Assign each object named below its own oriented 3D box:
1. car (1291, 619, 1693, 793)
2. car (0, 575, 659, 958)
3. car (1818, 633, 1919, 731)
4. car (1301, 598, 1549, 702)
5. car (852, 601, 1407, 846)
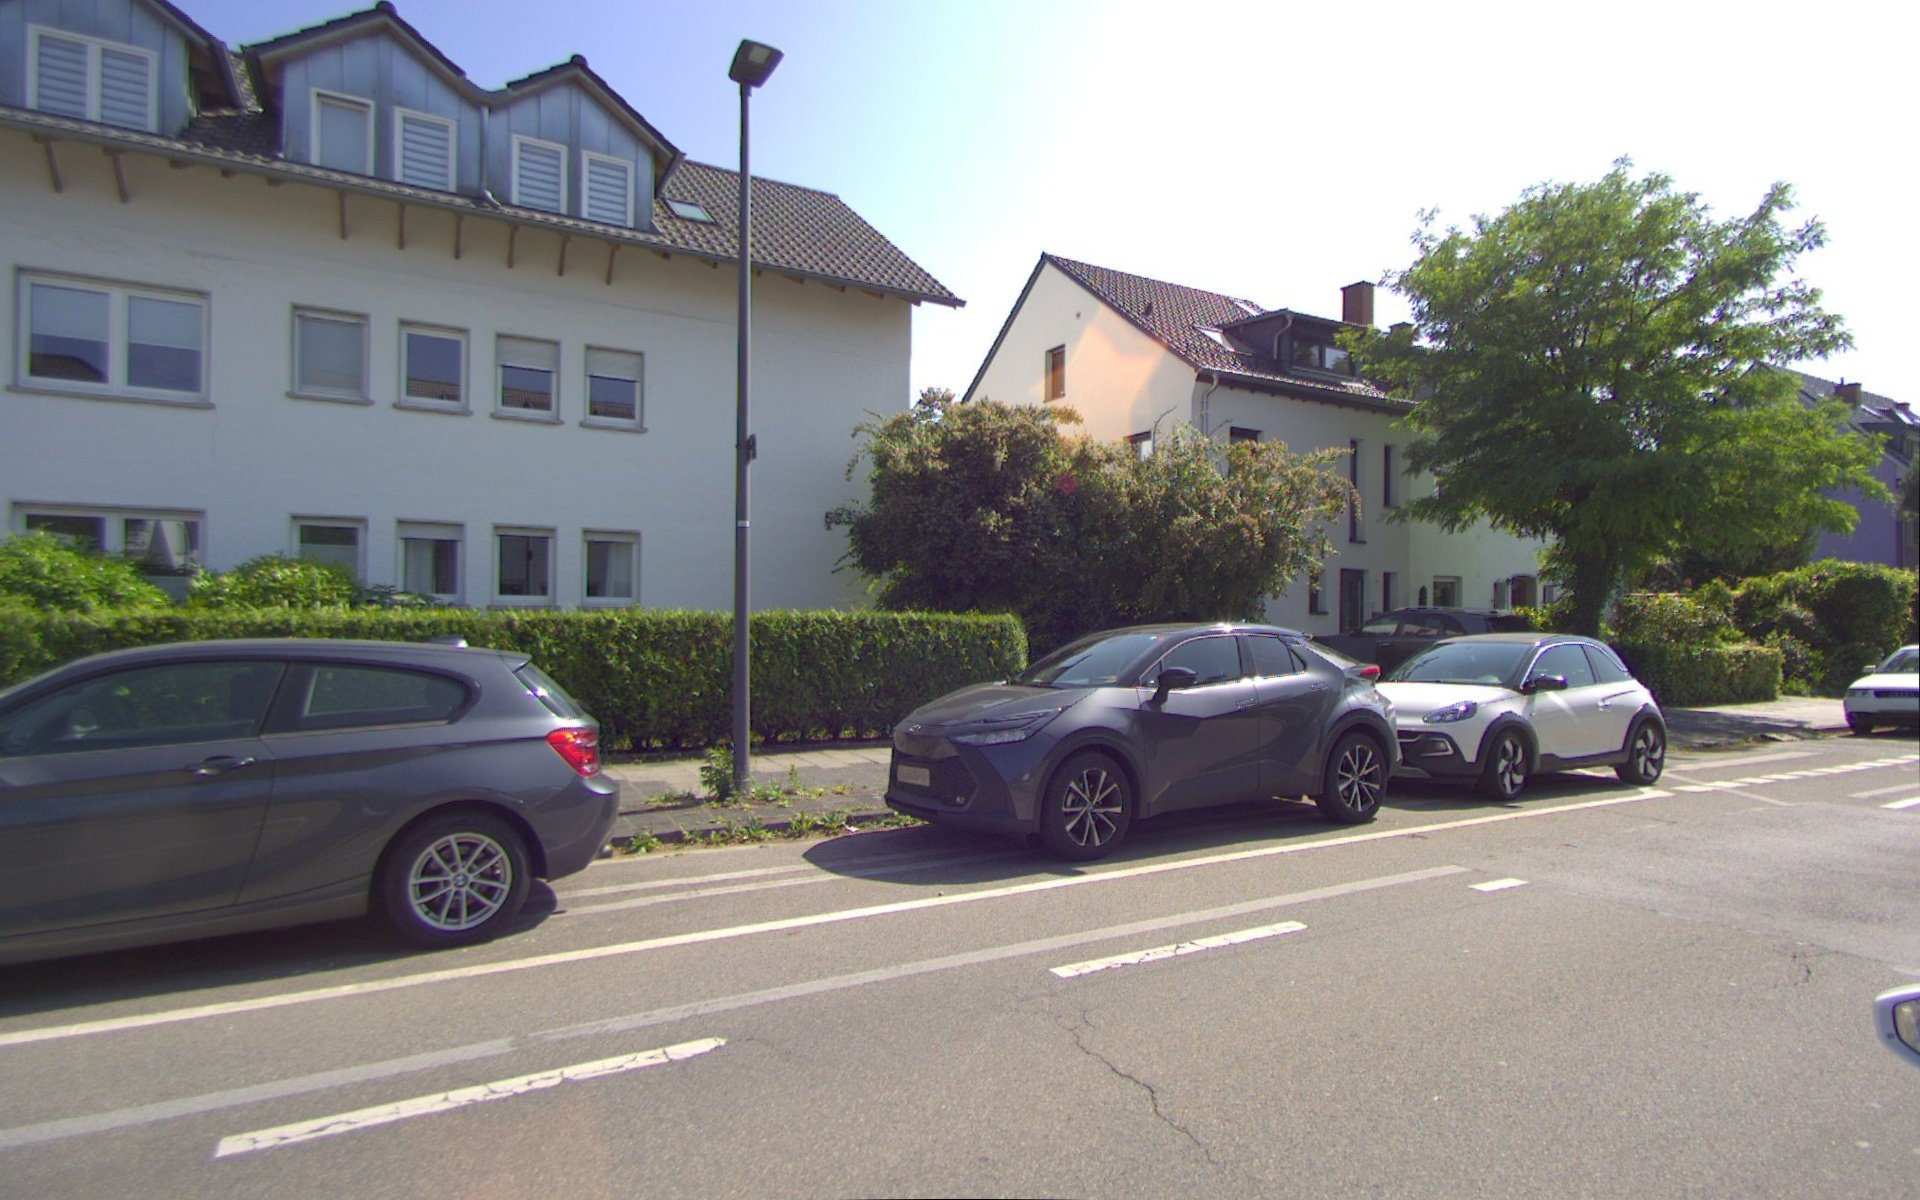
[{"bbox_3d":[5.471,0.960,10.258,3.952,1.459,1.777,2,-1,-29],"label":"car"},{"bbox_3d":[-3.749,0.673,4.829,4.108,1.459,1.776,2,-2,-32],"label":"car"},{"bbox_3d":[15.841,1.281,16.217,3.952,1.459,1.777,1,-4,-30],"label":"car"},{"bbox_3d":[8.840,0.885,19.415,1.975,1.783,3.970,1,-1,-28],"label":"car"},{"bbox_3d":[1.385,0.815,7.794,4.061,1.459,1.777,2,-2,-30],"label":"car"}]
